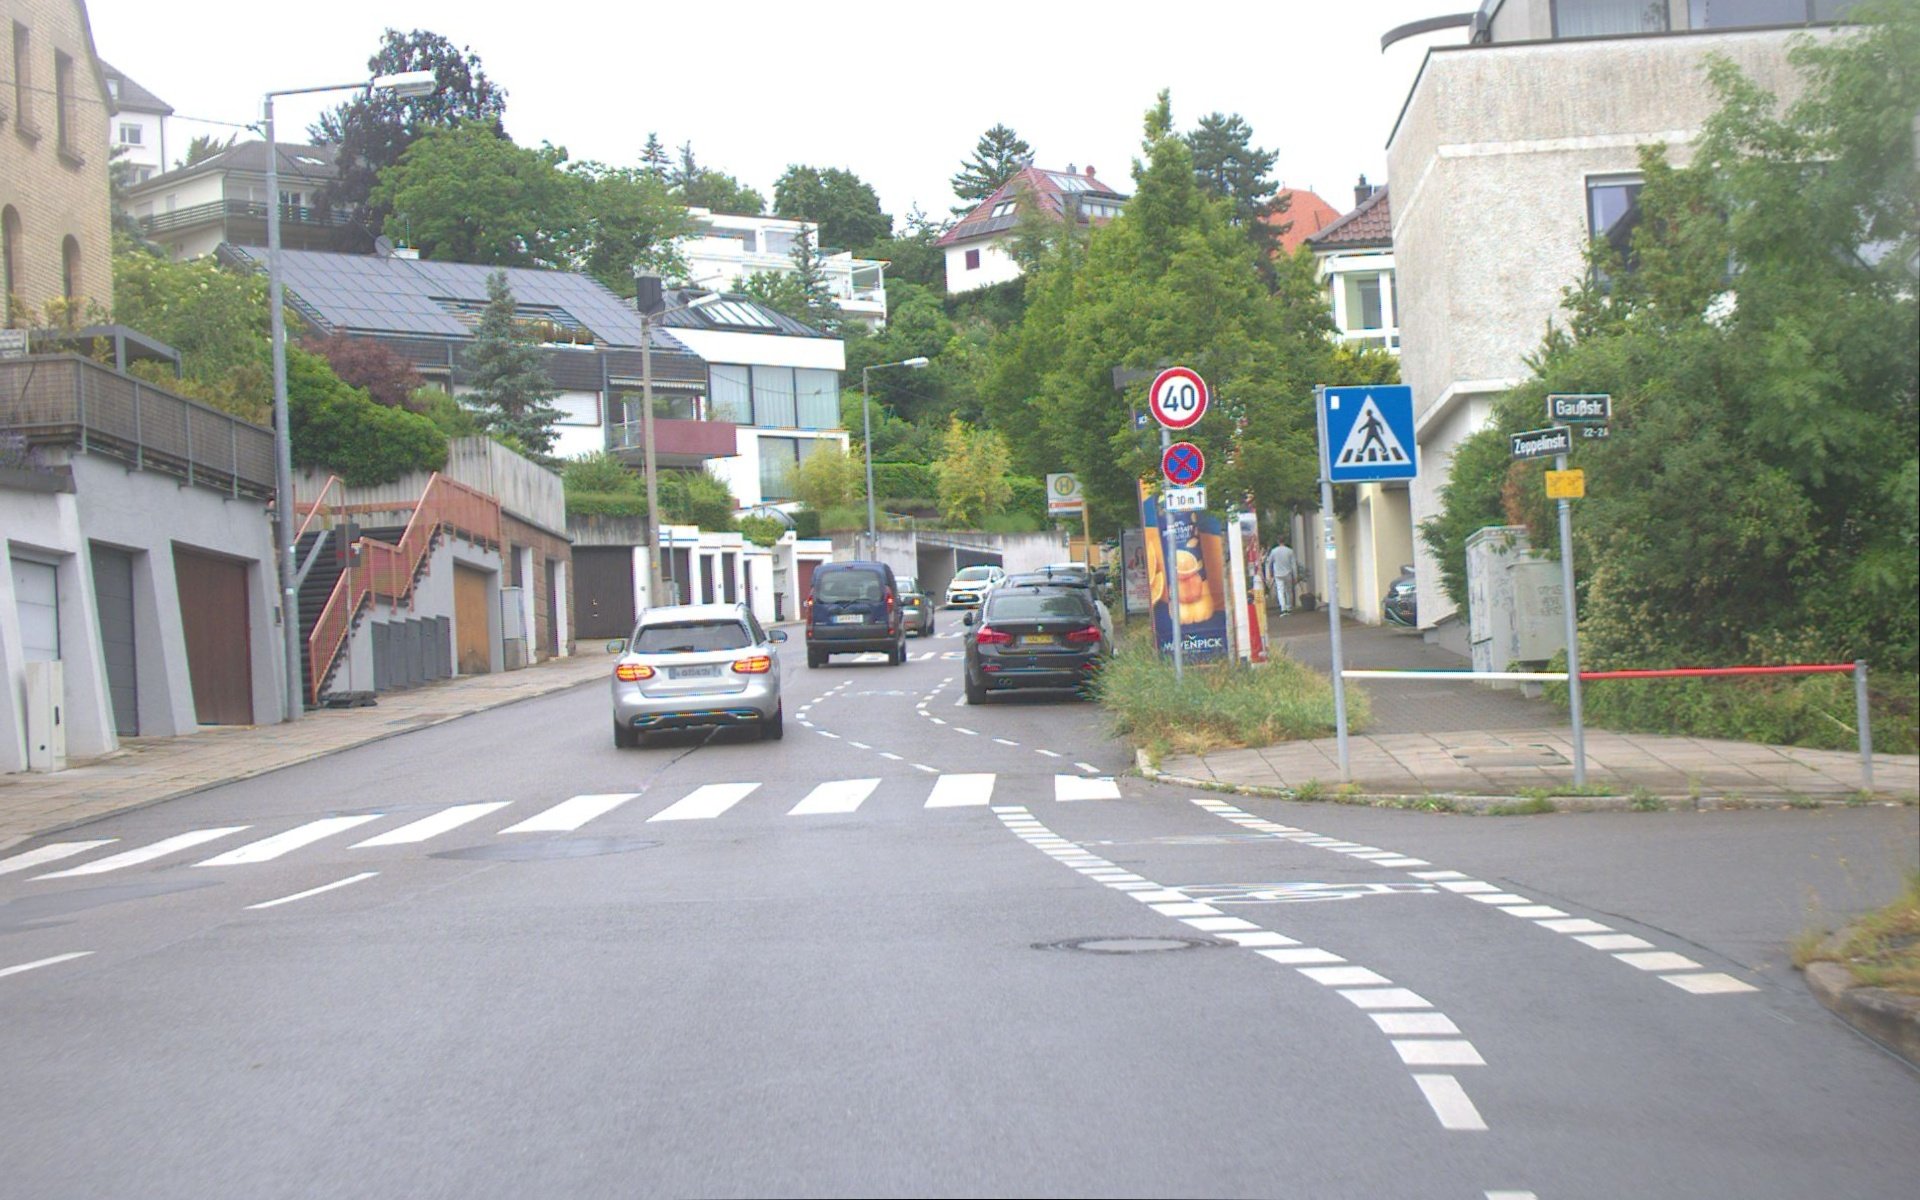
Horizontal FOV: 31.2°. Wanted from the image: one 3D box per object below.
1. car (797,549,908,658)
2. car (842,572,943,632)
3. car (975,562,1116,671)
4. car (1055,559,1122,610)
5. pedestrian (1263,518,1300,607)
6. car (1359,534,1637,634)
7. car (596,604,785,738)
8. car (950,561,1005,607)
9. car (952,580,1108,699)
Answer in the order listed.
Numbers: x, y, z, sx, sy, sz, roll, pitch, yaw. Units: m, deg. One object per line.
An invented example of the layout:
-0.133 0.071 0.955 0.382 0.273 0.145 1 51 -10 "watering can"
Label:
-1.881 0.039 61.156 1.824 1.813 4.000 -2 1 -1 "car"
-1.545 0.026 80.134 1.824 1.292 3.999 -2 1 6 "car"
1.189 0.212 49.349 1.715 1.445 3.834 -2 1 -2 "car"
3.378 -0.428 89.976 1.469 1.250 3.581 -2 1 6 "car"
6.600 -0.774 70.573 0.638 1.789 0.744 -2 0 -1 "pedestrian"
8.299 -0.248 52.954 3.990 1.410 1.724 -2 0 17 "car"
-2.970 0.755 37.211 1.811 1.356 4.001 0 -1 -8 "car"
0.650 -0.575 122.621 1.728 1.601 3.548 -1 0 4 "car"
0.854 0.469 44.199 1.771 1.373 4.349 -2 1 -1 "car"
